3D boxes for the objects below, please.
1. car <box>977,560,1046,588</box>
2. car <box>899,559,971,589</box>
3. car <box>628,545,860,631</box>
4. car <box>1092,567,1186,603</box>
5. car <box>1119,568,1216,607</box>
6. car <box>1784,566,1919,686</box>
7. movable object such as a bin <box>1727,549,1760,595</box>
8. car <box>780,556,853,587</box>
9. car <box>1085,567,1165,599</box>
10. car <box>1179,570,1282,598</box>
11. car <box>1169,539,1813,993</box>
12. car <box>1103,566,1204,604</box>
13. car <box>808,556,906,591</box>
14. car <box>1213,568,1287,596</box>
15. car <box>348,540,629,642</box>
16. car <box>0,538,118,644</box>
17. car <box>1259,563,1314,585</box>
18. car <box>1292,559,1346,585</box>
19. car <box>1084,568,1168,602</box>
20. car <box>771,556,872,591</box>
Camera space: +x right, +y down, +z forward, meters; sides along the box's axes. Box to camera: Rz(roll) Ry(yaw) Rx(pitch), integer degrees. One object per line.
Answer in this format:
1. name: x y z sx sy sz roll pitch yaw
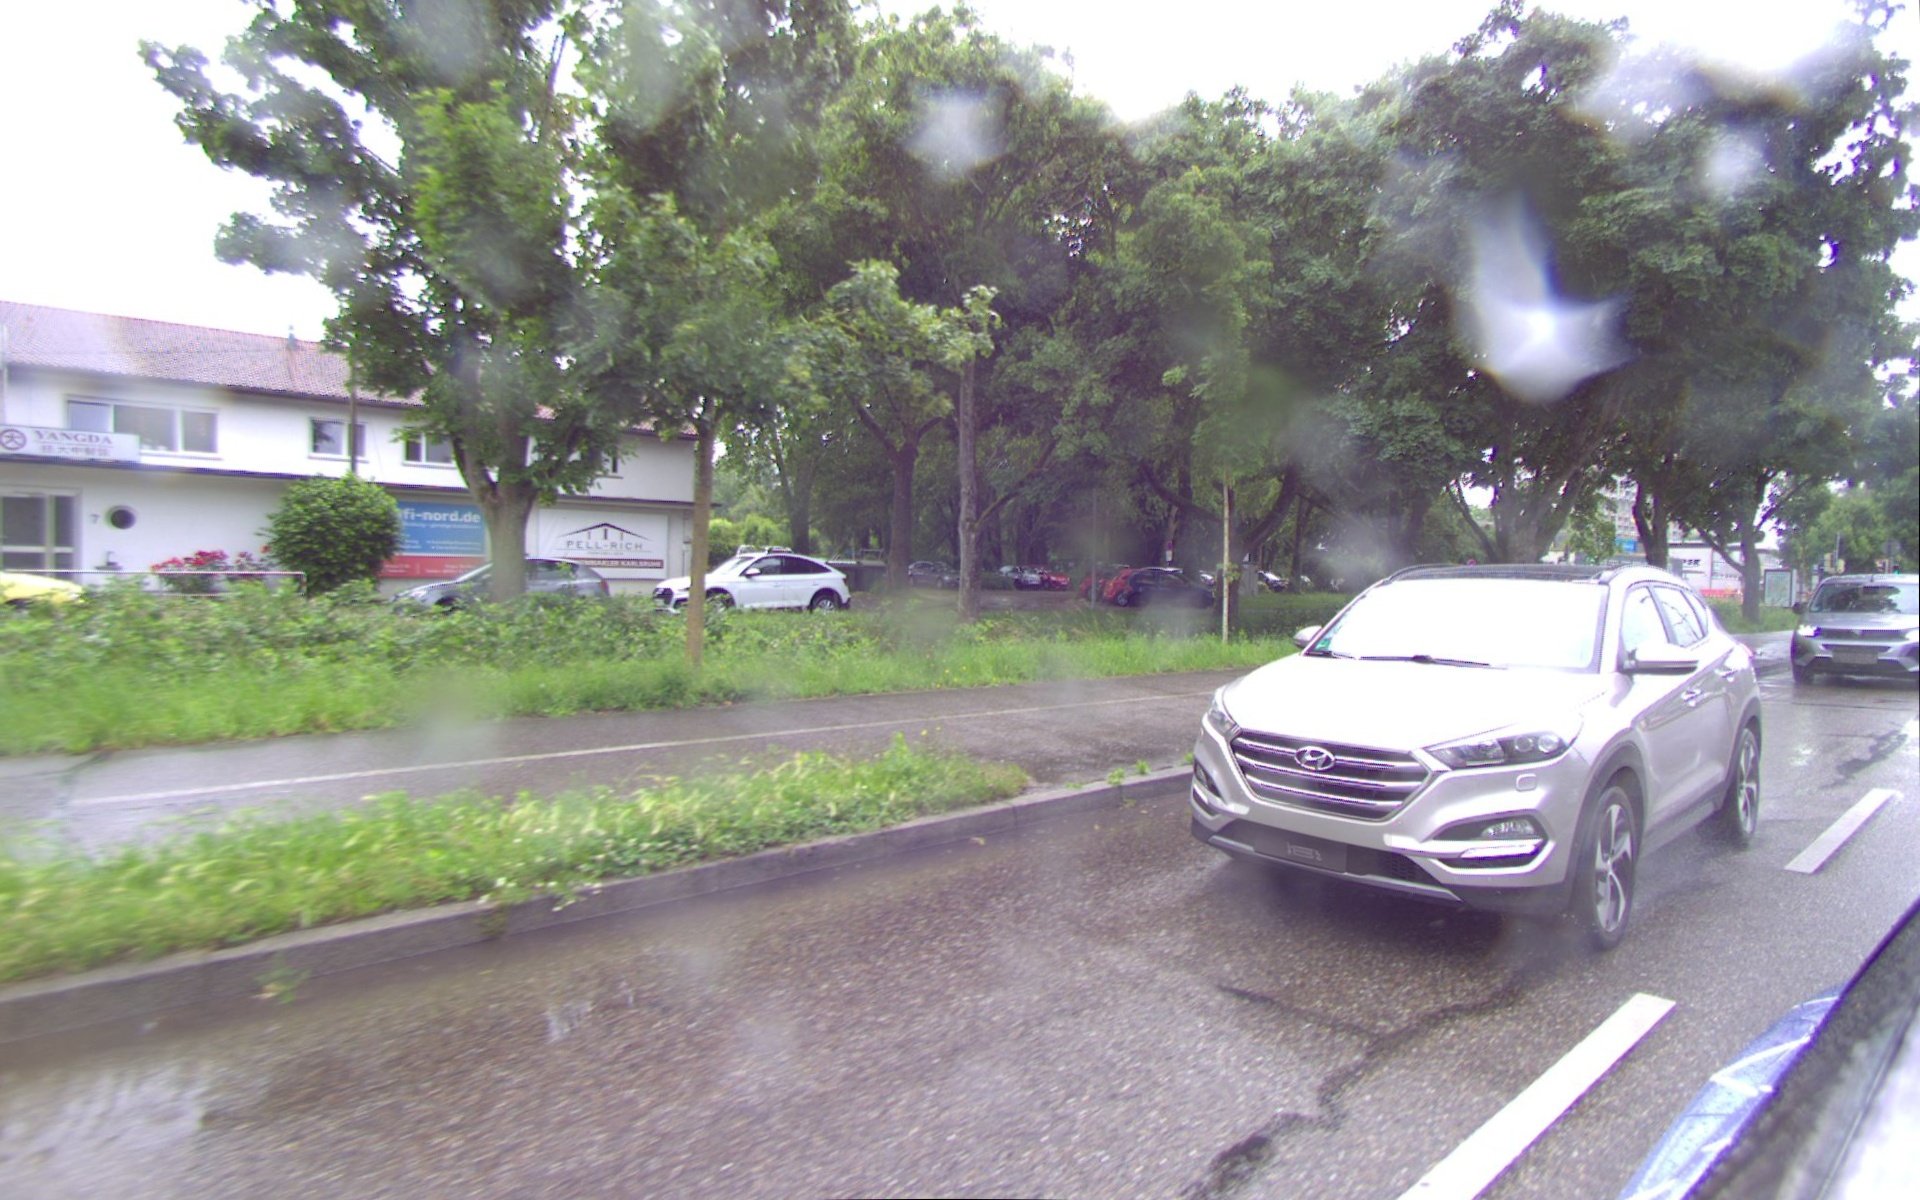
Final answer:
1. car: 3.104 -1.561 61.561 1.865 1.630 4.294 -1 1 -37
2. car: -1.452 -1.449 56.990 1.885 1.630 4.294 -1 1 -37
3. car: -4.797 -0.326 22.897 4.794 1.738 1.998 -1 3 -41
4. car: 7.537 -0.627 42.881 3.681 1.467 1.670 -1 1 0
5. car: 7.605 -0.454 37.275 3.329 1.369 1.523 0 1 6
6. car: 15.860 0.363 17.265 4.481 1.818 1.998 -1 1 -40
7. movable object such as a bin: 77.596 -2.764 100.229 3.837 4.482 1.558 -1 0 -37
8. car: -7.314 -1.428 51.470 1.707 1.474 3.991 -1 1 -43
9. car: 7.773 -0.791 47.794 3.690 1.467 1.599 0 1 10
10. car: 14.897 -0.894 56.014 2.127 1.467 5.415 -1 1 -36
11. car: 3.202 0.551 5.715 4.123 1.630 1.887 -1 1 -41
12. car: 7.705 -0.594 40.473 3.681 1.467 1.670 -1 1 0
13. car: -4.028 -1.036 39.789 3.639 1.332 1.574 -1 1 -42
14. car: 16.940 -1.054 59.317 1.845 1.544 4.003 -1 1 -31
15. car: -8.982 -0.233 19.488 4.561 1.738 1.998 -1 3 -41
16. car: -14.786 -0.122 14.630 4.002 1.504 1.640 -1 1 -41
17. car: 24.872 -1.999 77.194 1.688 1.617 3.669 -1 1 -35
18. car: 28.759 -2.221 81.167 1.885 1.989 4.204 -1 1 -17
19. car: 7.496 -0.670 45.790 3.690 1.467 1.665 0 1 10
20. car: -5.668 -1.088 41.748 3.931 1.403 1.586 -1 1 -41
